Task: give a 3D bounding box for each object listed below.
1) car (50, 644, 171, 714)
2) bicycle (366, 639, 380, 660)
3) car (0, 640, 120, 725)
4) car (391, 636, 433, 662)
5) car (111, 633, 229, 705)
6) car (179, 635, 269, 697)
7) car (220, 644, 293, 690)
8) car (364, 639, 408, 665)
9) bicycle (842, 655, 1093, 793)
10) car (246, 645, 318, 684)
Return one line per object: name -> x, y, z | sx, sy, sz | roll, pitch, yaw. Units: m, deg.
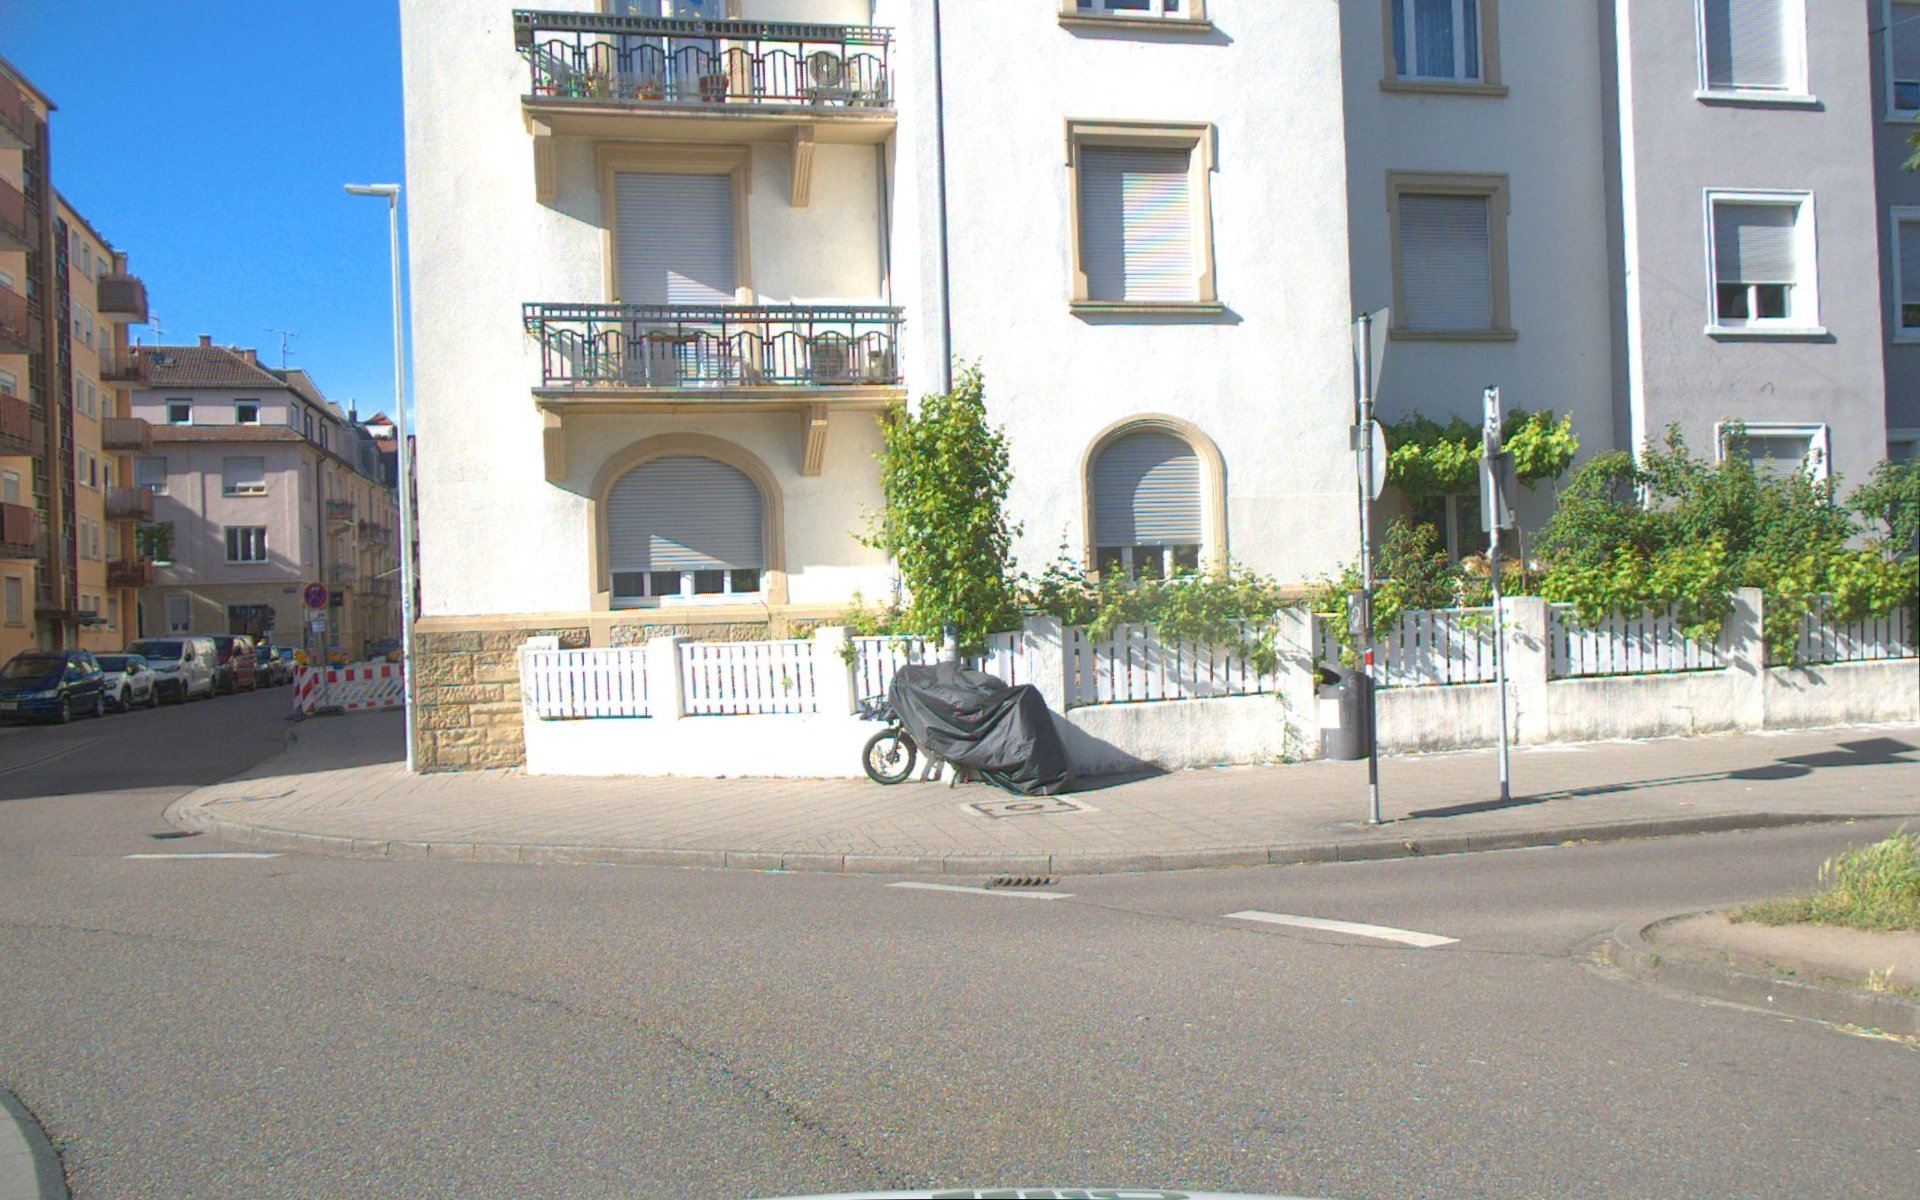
car -> -22.481, 2.050, 43.916 | 1.731, 1.649, 4.282 | -1, -1, -12
bicycle -> -38.263, 3.203, 107.837 | 0.531, 1.324, 1.862 | -1, -1, -10
car -> -21.302, 1.886, 38.794 | 1.731, 1.802, 4.281 | -1, -1, -12
car -> -34.204, 3.066, 103.284 | 1.968, 1.610, 4.473 | 0, -2, -12
car -> -23.471, 1.998, 49.341 | 1.941, 1.959, 5.293 | -1, -1, -12
car -> -24.706, 2.178, 55.683 | 1.731, 1.959, 4.920 | 0, -1, -12
car -> -25.829, 2.434, 60.834 | 1.732, 1.529, 3.987 | -3, 0, -13
car -> -32.206, 2.920, 92.928 | 1.649, 1.451, 4.263 | 0, -2, -10
bicycle -> 0.050, 1.122, 15.292 | 2.236, 1.178, 0.765 | -2, -1, 31
car -> -26.834, 2.522, 65.599 | 1.731, 1.402, 4.466 | -1, -1, -11
